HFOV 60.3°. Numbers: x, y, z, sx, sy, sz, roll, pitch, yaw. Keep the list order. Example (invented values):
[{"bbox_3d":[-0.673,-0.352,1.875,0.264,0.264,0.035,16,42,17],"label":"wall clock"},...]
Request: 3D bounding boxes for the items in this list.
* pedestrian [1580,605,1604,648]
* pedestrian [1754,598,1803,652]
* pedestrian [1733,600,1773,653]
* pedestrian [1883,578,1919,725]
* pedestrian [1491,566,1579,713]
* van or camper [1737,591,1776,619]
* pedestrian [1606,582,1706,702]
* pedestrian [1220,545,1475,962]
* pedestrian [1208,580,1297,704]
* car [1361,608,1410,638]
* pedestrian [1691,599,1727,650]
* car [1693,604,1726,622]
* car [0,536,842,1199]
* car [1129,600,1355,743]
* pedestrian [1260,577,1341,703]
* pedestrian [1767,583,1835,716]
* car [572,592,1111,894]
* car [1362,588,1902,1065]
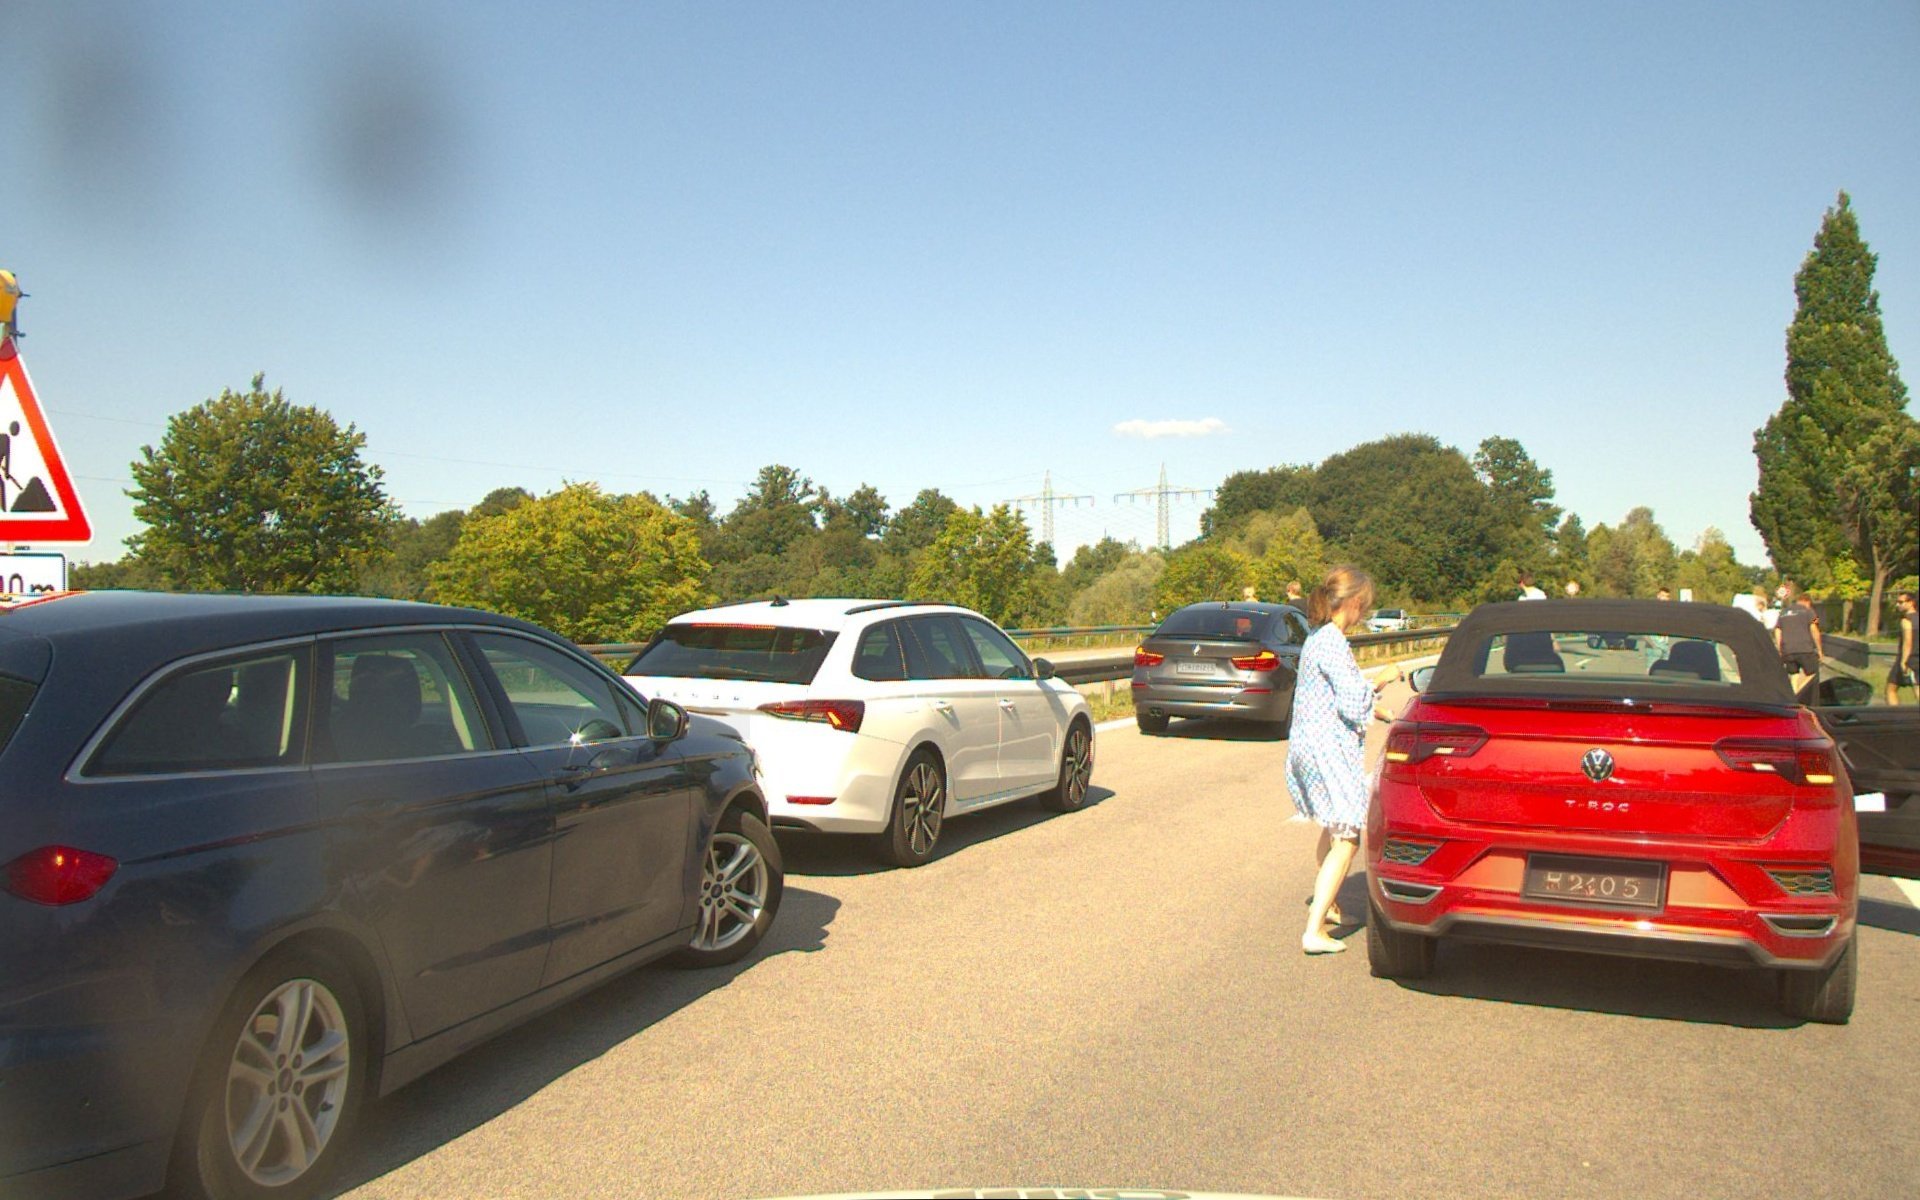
[{"bbox_3d":[25.561,1.069,66.895,0.776,1.719,0.791,1,0,28],"label":"pedestrian"},{"bbox_3d":[26.463,0.807,53.495,0.992,1.719,0.994,1,0,-20],"label":"pedestrian"},{"bbox_3d":[26.285,0.860,54.830,1.093,1.719,0.971,1,0,32],"label":"pedestrian"},{"bbox_3d":[11.750,0.623,20.086,0.877,1.755,0.753,1,0,27],"label":"pedestrian"},{"bbox_3d":[7.889,0.526,22.711,1.082,1.946,1.257,-1,0,19],"label":"pedestrian"},{"bbox_3d":[69.544,0.422,144.355,1.963,2.356,4.445,1,0,40],"label":"van or camper"},{"bbox_3d":[10.874,0.641,25.842,1.083,1.820,1.090,1,0,-43],"label":"pedestrian"},{"bbox_3d":[1.706,0.631,7.346,0.734,1.712,0.833,0,-1,-31],"label":"pedestrian"},{"bbox_3d":[4.357,0.612,24.572,1.092,1.794,1.044,-1,-1,23],"label":"pedestrian"},{"bbox_3d":[22.027,1.160,85.481,1.661,1.451,4.301,1,0,26],"label":"car"},{"bbox_3d":[25.957,0.853,57.336,1.036,1.719,1.015,1,0,30],"label":"pedestrian"},{"bbox_3d":[68.088,1.178,150.239,1.706,1.513,4.189,1,0,39],"label":"car"},{"bbox_3d":[-1.920,0.661,5.224,1.750,1.519,4.496,-1,0,14],"label":"car"},{"bbox_3d":[3.431,0.740,19.435,1.660,1.451,4.332,1,0,23],"label":"car"},{"bbox_3d":[5.318,0.614,25.794,1.043,1.916,1.093,0,-1,23],"label":"pedestrian"},{"bbox_3d":[11.663,0.674,22.940,0.796,1.790,0.827,1,0,28],"label":"pedestrian"},{"bbox_3d":[-0.490,0.709,10.464,1.660,1.467,4.209,1,0,23],"label":"car"},{"bbox_3d":[3.068,0.731,7.621,1.697,1.513,4.209,1,0,23],"label":"car"}]
